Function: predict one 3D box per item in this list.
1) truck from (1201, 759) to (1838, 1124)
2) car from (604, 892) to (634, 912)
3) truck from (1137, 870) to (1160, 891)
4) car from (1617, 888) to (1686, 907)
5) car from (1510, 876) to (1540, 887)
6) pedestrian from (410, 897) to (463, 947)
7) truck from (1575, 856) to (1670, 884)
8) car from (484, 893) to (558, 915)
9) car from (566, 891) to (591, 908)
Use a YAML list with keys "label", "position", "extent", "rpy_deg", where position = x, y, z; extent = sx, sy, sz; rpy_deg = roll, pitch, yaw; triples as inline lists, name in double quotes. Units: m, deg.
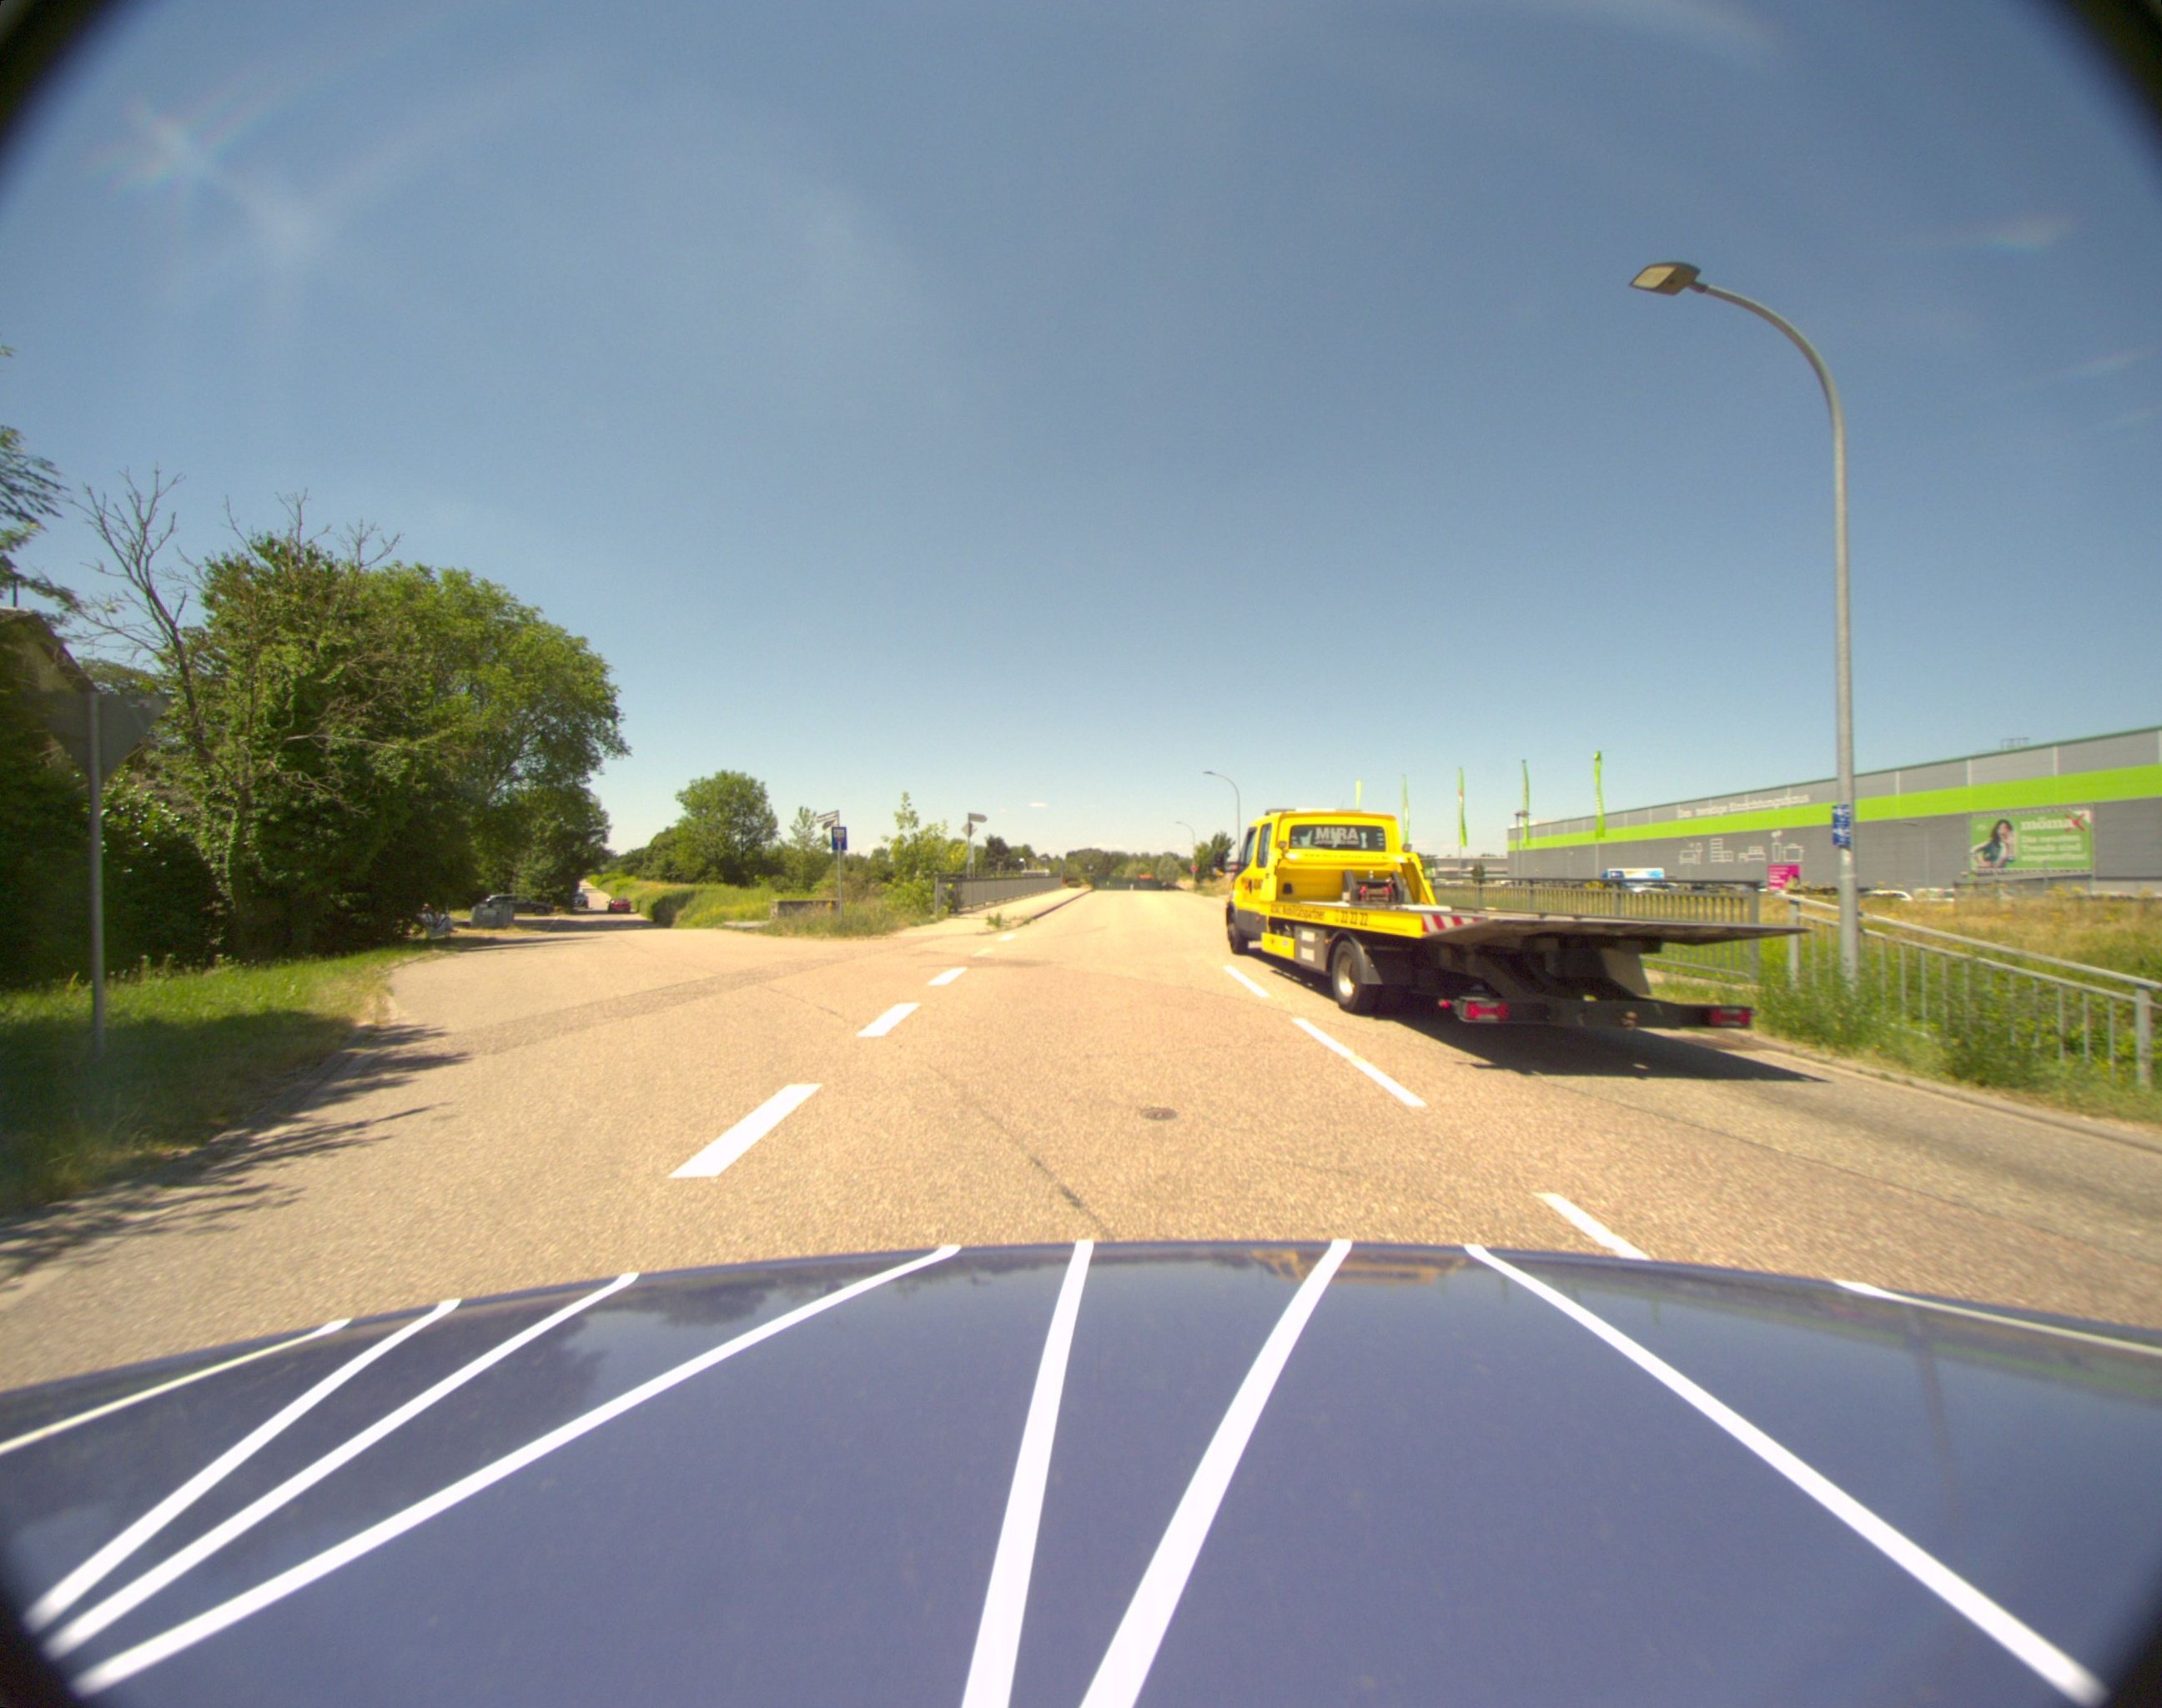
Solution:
- label: "truck"
  position: [3.595, 0.595, 9.481]
  extent: [2.317, 2.324, 9.048]
  rpy_deg: [2, 0, -3]
- label: "car"
  position: [-40.248, 4.156, 66.165]
  extent: [2.004, 1.614, 4.502]
  rpy_deg: [2, -2, -34]
- label: "truck"
  position: [14.096, 5.627, 158.068]
  extent: [2.843, 4.170, 8.147]
  rpy_deg: [-2, -3, 17]
- label: "car"
  position: [45.704, 3.477, 60.932]
  extent: [3.995, 1.428, 1.848]
  rpy_deg: [-2, -2, 6]
- label: "car"
  position: [75.747, 4.737, 129.712]
  extent: [3.994, 1.728, 2.002]
  rpy_deg: [-2, -1, 8]
- label: "pedestrian"
  position: [-18.762, 1.974, 22.126]
  extent: [0.681, 1.384, 0.852]
  rpy_deg: [2, -3, 16]
- label: "truck"
  position: [56.107, 1.760, 78.839]
  extent: [7.756, 2.667, 2.969]
  rpy_deg: [-3, -3, 41]
- label: "car"
  position: [-43.191, 3.817, 58.701]
  extent: [4.522, 1.614, 1.995]
  rpy_deg: [2, -2, -35]
- label: "car"
  position: [-50.394, 4.559, 76.117]
  extent: [2.004, 1.614, 4.502]
  rpy_deg: [2, -2, -34]
